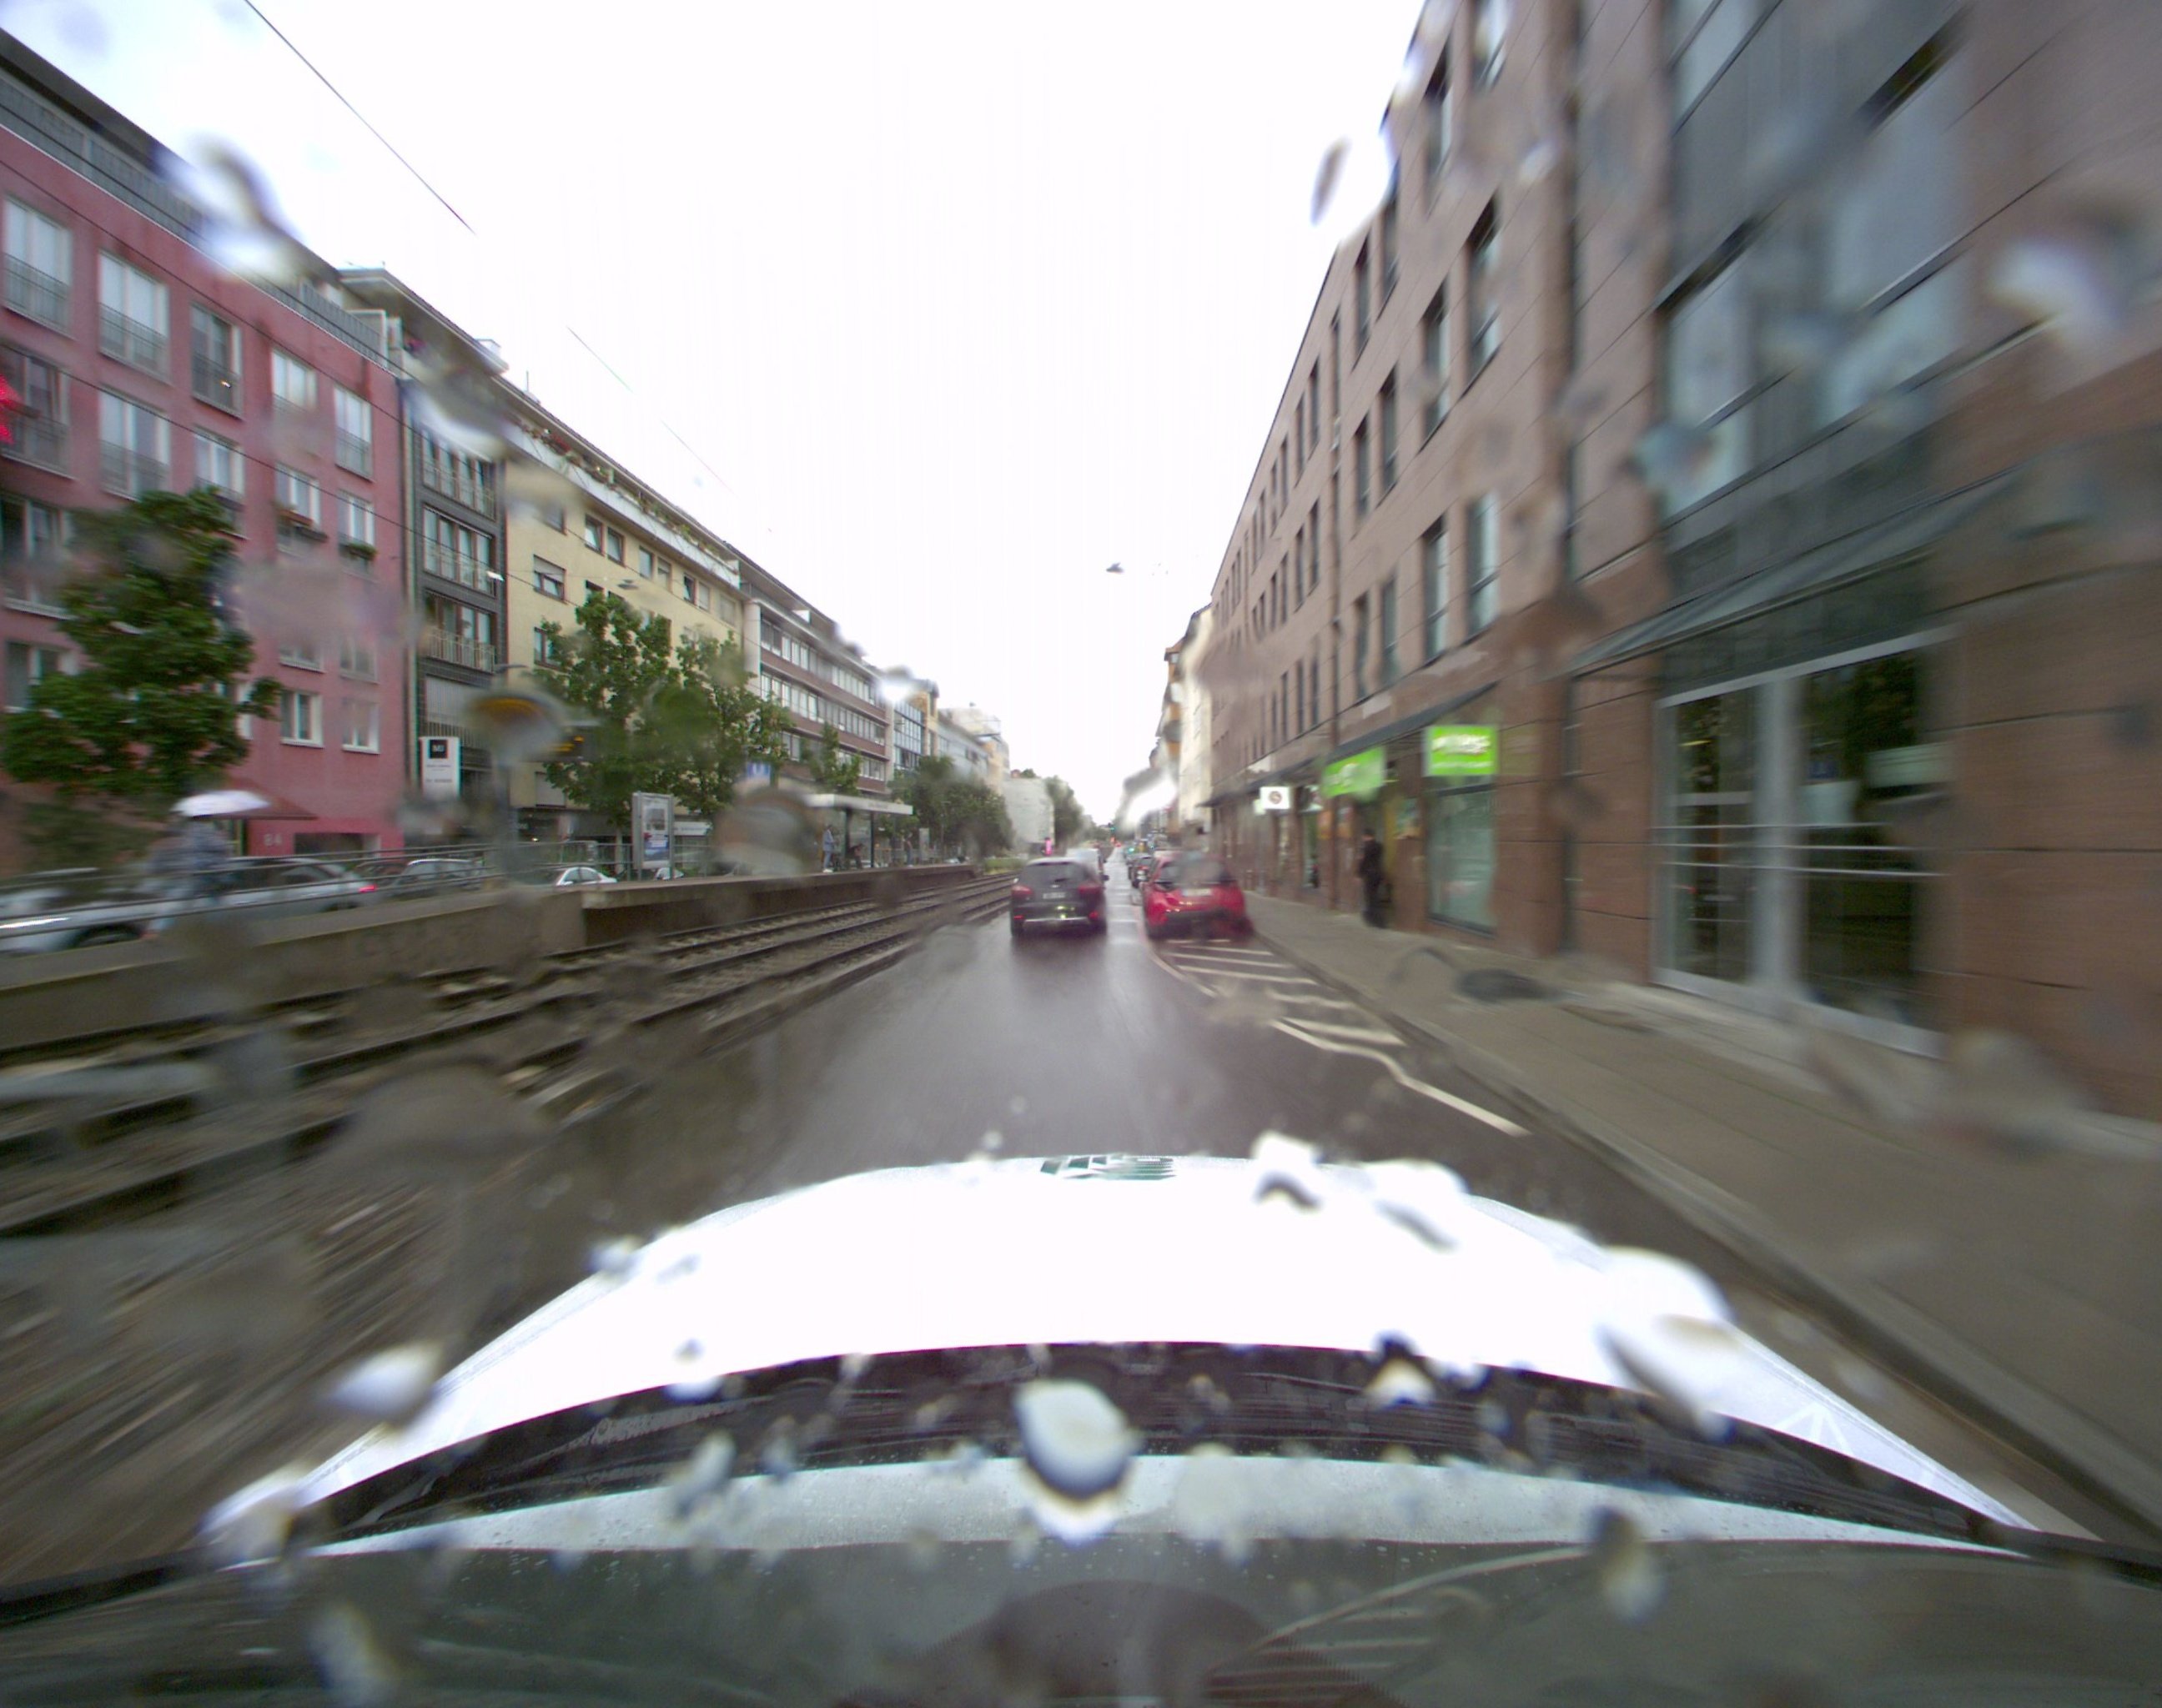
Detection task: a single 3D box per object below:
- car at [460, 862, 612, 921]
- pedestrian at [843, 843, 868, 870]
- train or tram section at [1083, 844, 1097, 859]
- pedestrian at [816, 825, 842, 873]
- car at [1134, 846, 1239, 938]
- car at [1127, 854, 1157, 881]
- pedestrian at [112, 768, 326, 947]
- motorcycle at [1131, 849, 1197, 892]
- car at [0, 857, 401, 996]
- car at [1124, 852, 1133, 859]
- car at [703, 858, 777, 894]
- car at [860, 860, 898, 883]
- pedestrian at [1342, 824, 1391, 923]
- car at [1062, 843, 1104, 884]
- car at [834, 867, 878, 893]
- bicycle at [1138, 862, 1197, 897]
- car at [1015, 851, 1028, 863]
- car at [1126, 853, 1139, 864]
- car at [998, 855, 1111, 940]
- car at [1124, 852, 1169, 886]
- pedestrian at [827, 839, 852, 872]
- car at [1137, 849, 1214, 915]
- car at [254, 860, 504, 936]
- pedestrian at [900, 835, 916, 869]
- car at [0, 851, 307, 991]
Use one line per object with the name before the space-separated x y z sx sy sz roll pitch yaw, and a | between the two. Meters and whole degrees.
car | -15.172 0.991 22.949 1.563 1.436 3.978 -1 0 0
pedestrian | -9.595 0.087 34.664 0.891 1.123 0.848 -1 0 -8
train or tram section | 2.387 -0.751 215.079 3.501 3.777 11.331 -1 0 0
pedestrian | -9.272 -0.180 30.005 0.653 1.711 0.850 -1 0 0
car | 1.938 0.668 15.766 1.691 1.479 3.871 -3 -1 4
car | 3.925 0.862 52.981 1.800 1.631 5.172 -1 0 2
pedestrian | -10.458 0.041 9.965 1.111 2.014 1.384 -1 -1 2
motorcycle | 2.876 0.576 28.225 2.066 1.407 0.803 -2 -1 21
car | -13.051 0.856 11.883 1.799 1.578 5.025 -1 0 3
car | 10.822 0.328 186.423 1.898 1.633 4.578 -1 -1 4
car | -14.559 0.909 34.983 1.563 1.436 3.735 -1 0 0
car | -13.842 1.192 56.058 1.563 1.436 4.177 -1 0 0
pedestrian | 4.926 0.330 14.085 0.599 1.659 0.626 -1 -1 3
car | 0.166 0.477 40.216 1.899 1.865 4.575 -1 -1 2
car | -13.936 1.577 50.683 1.563 1.436 4.237 -1 0 0
bicycle | 2.685 0.787 25.337 1.780 1.031 0.462 -1 -1 1
car | -9.805 0.513 134.907 1.900 1.865 4.572 -1 -1 0
car | 7.815 0.722 124.321 1.898 1.633 4.578 -1 -1 4
car | -0.411 0.778 16.064 1.898 1.462 3.448 -1 -1 3
car | 3.022 0.666 38.324 1.768 1.468 4.609 -1 0 0
pedestrian | -9.586 0.056 32.334 0.690 1.249 0.884 -1 0 0
car | 2.336 0.673 21.051 1.691 1.462 3.870 -3 -1 3
car | -15.362 0.876 18.207 1.835 1.436 4.318 -1 0 0
pedestrian | -9.239 -0.119 43.454 0.653 1.801 0.850 -1 0 0
car | -15.255 0.910 12.878 1.796 1.858 4.380 -1 0 0
